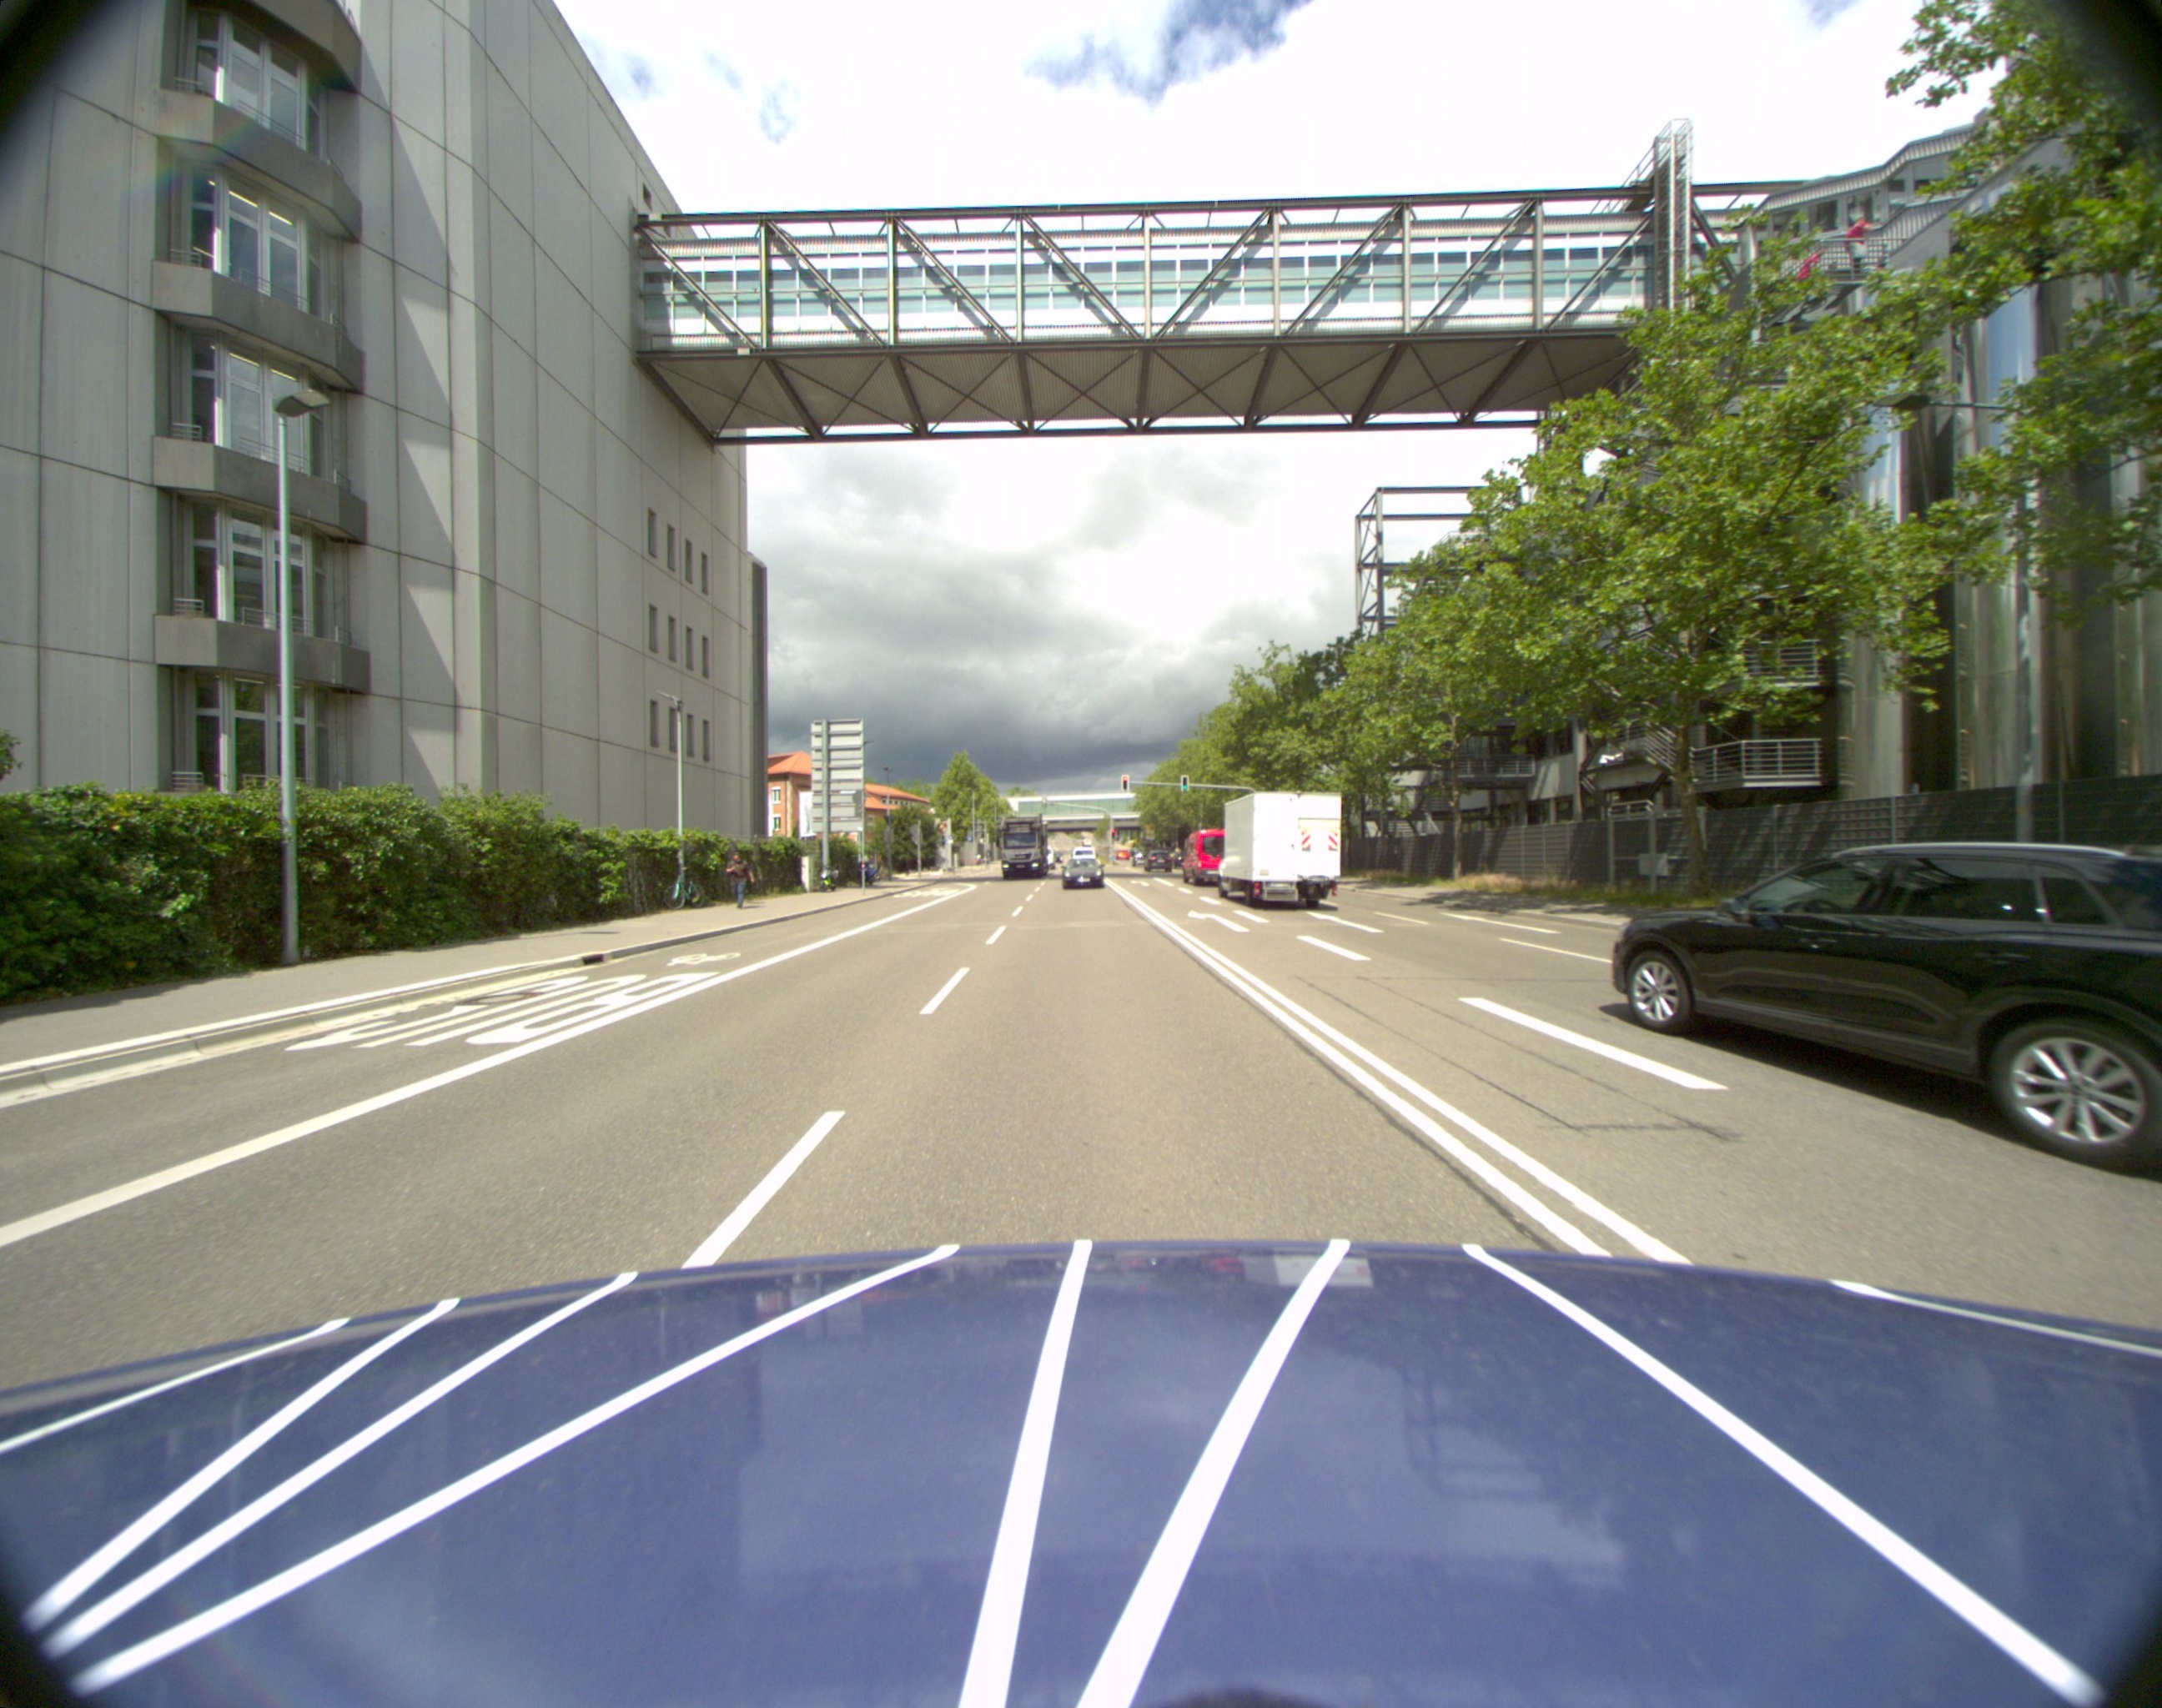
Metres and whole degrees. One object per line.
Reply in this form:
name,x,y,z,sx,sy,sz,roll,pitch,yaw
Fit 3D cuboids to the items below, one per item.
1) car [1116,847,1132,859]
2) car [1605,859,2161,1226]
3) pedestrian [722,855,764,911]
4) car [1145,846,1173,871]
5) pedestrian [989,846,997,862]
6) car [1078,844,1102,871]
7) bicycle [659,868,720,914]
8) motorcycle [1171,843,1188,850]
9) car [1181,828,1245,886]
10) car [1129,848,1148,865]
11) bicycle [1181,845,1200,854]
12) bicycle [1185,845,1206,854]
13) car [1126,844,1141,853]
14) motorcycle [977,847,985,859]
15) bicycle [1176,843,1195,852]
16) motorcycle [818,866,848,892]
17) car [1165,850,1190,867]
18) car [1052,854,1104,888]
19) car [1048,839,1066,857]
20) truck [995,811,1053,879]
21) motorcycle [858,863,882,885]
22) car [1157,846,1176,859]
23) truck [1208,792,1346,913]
car,5.748,-0.130,101.659,1.889,1.446,3.902,1,1,-1
car,5.589,0.844,4.706,1.744,1.571,4.267,1,0,1
pedestrian,-10.099,0.847,22.744,0.811,1.635,0.997,0,1,-1
car,5.776,0.295,56.664,1.740,1.674,4.213,-2,1,1
pedestrian,-9.897,-0.055,85.351,0.729,1.756,1.015,-2,1,0
car,0.714,0.330,59.464,1.824,2.001,4.392,-1,-1,1
bicycle,-11.304,1.037,22.030,0.444,1.173,2.468,-2,1,0
motorcycle,16.553,-1.202,127.742,2.830,1.030,0.600,-2,-1,4
car,6.039,0.103,35.431,2.068,2.492,5.479,0,1,1
car,5.427,0.222,71.657,1.562,1.496,3.612,1,1,1
bicycle,14.878,-0.630,103.160,2.561,1.079,0.616,-2,1,6
bicycle,14.845,-0.546,98.798,2.564,1.079,0.615,-2,1,-8
car,8.609,-0.889,125.534,1.999,1.446,4.767,1,1,-1
motorcycle,-10.855,-0.106,82.791,0.570,1.219,2.175,0,1,1
bicycle,14.710,-0.864,107.195,2.562,1.171,0.615,-2,1,1
motorcycle,-10.625,1.060,32.632,0.592,1.061,2.037,0,1,0
car,8.374,0.374,66.111,1.580,1.420,3.919,1,1,0
car,-0.057,0.692,32.743,1.838,1.317,4.001,-3,0,5
car,-2.853,-0.738,91.992,1.871,1.944,4.710,-3,2,1
truck,-3.563,-0.621,50.299,2.713,3.863,10.739,-2,1,1
motorcycle,-10.681,1.006,38.501,0.592,1.061,2.037,1,0,0
car,9.566,-0.192,85.489,1.697,1.421,3.821,0,0,-1
truck,5.682,-0.096,23.340,2.458,3.111,7.242,1,1,1
